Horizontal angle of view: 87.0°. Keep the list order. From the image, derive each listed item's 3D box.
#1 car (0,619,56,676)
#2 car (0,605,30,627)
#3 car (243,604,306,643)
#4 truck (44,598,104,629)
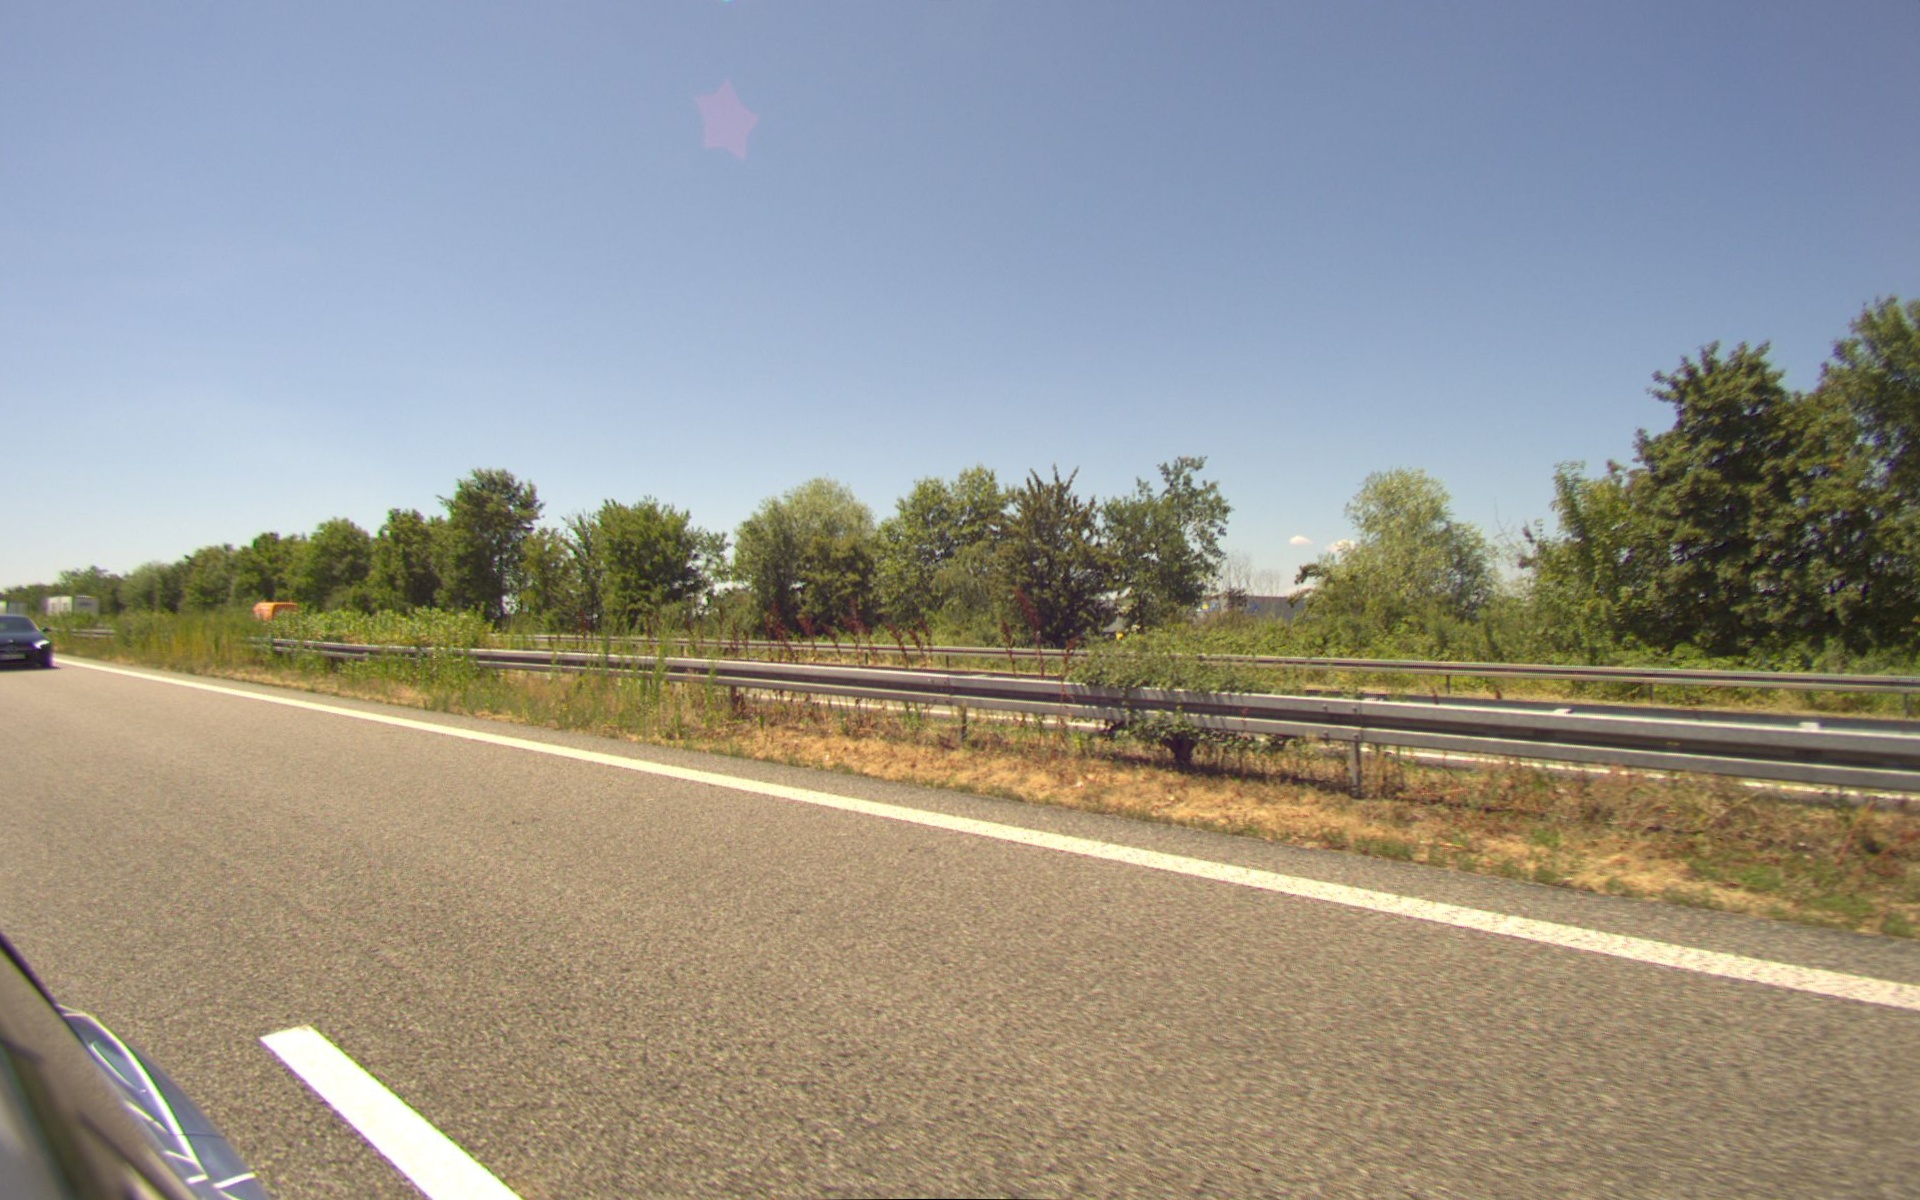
[{"bbox_3d":[-25.352,1.218,26.711,4.051,1.422,1.773,-1,-1,41],"label":"car"},{"bbox_3d":[-148.135,2.423,157.823,8.508,3.318,3.471,-1,0,40],"label":"car"},{"bbox_3d":[-45.704,1.551,67.433,4.953,2.455,2.159,-1,-3,41],"label":"car"},{"bbox_3d":[-105.514,1.585,120.470,10.684,3.464,4.069,-1,0,41],"label":"truck"}]
